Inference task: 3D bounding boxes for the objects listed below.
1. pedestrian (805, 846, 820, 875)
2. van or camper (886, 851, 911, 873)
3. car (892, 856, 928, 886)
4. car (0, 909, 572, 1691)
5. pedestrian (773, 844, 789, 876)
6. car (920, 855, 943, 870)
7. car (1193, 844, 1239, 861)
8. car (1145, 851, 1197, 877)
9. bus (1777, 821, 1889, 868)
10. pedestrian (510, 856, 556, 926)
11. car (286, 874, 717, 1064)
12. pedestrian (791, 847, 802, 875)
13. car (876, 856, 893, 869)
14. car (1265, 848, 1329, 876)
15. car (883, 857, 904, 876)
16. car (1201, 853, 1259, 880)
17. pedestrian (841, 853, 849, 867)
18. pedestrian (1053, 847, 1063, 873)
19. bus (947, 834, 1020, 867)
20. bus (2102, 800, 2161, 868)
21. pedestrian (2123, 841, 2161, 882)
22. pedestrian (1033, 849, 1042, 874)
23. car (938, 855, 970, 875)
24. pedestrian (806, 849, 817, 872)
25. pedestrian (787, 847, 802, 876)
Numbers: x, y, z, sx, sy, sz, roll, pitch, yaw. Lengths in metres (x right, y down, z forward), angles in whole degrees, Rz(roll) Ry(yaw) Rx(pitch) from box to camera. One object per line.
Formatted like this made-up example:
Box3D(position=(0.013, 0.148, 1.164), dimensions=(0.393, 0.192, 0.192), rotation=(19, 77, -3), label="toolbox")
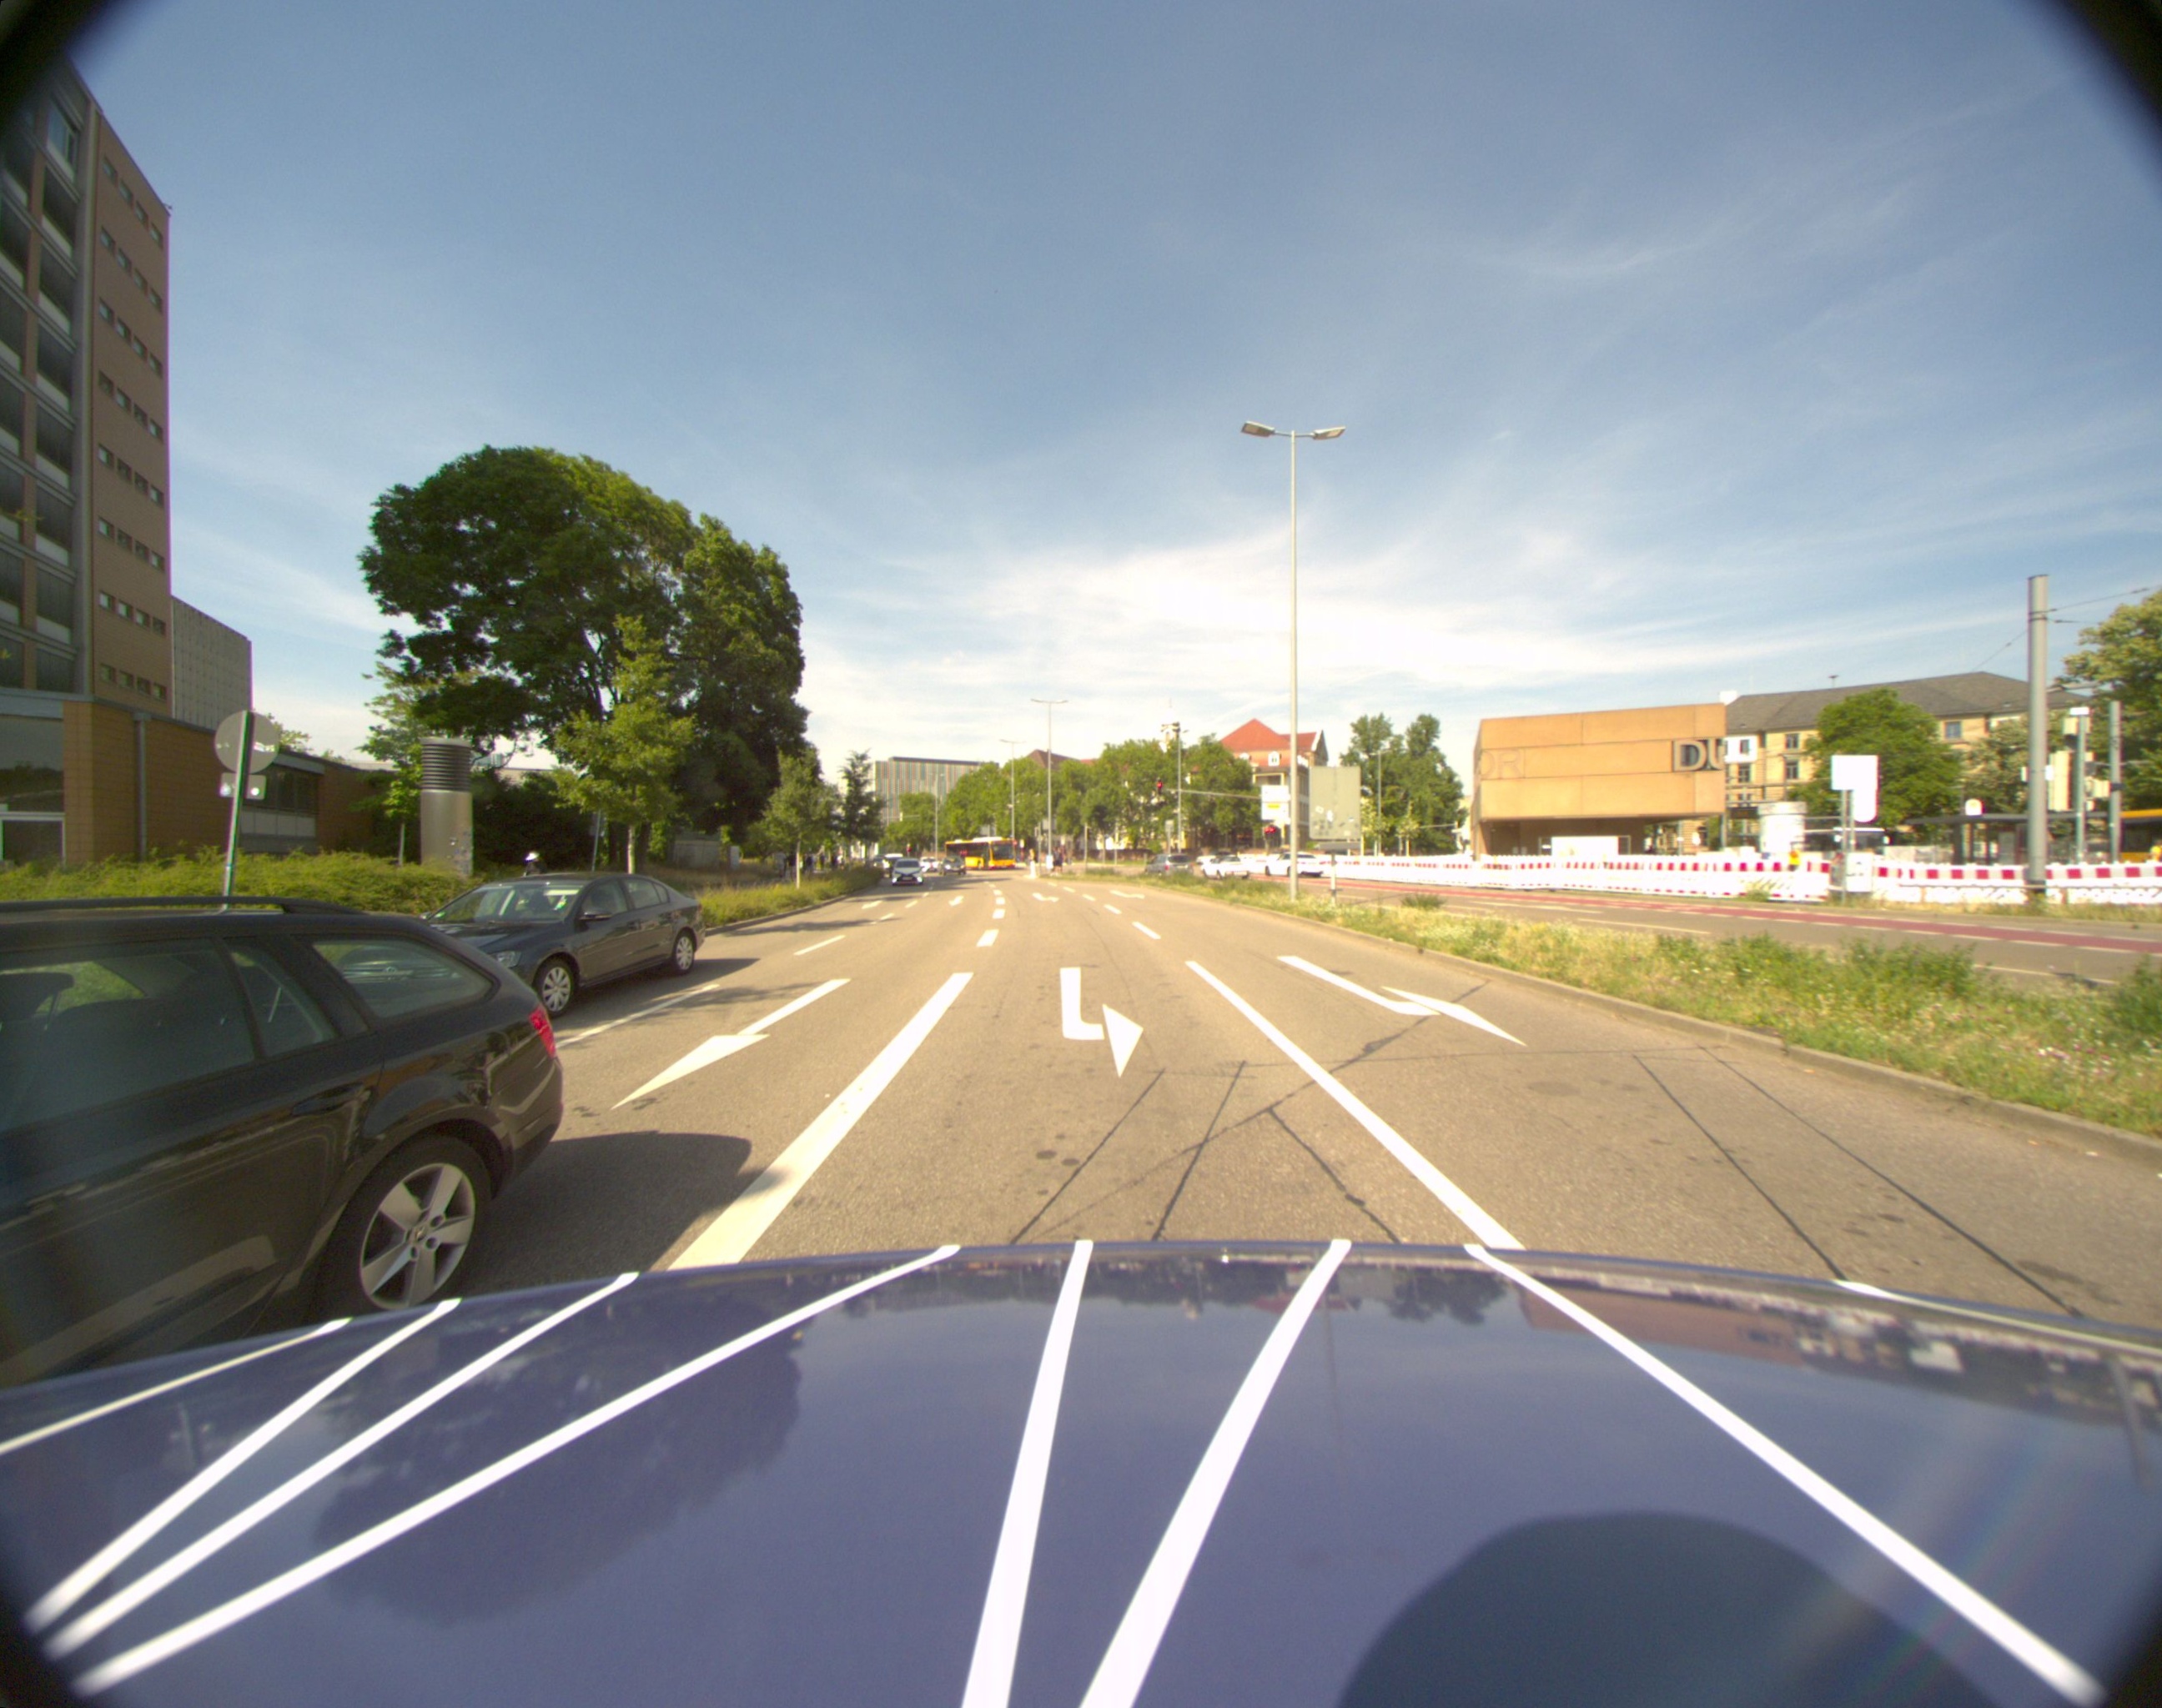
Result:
Box3D(position=(-15.805, 0.382, 44.761), dimensions=(0.643, 1.664, 0.752), rotation=(1, 1, -1), label="pedestrian")
Box3D(position=(-16.618, 0.699, 69.021), dimensions=(1.732, 1.877, 4.914), rotation=(-3, 1, -19), label="van or camper")
Box3D(position=(-9.507, 0.885, 42.052), dimensions=(1.683, 1.466, 3.754), rotation=(-3, 1, -15), label="car")
Box3D(position=(-3.010, 1.015, 0.932), dimensions=(1.635, 1.427, 4.778), rotation=(-2, 1, -2), label="car")
Box3D(position=(-17.446, 0.360, 44.170), dimensions=(0.643, 1.827, 0.731), rotation=(1, 1, -1), label="pedestrian")
Box3D(position=(-13.673, 0.754, 69.379), dimensions=(1.492, 1.286, 3.480), rotation=(0, 0, -20), label="car")
Box3D(position=(13.321, -0.145, 74.993), dimensions=(4.118, 1.435, 1.756), rotation=(-3, 1, -26), label="car")
Box3D(position=(4.797, 0.496, 41.090), dimensions=(1.600, 1.279, 3.995), rotation=(-3, 1, -12), label="car")
Box3D(position=(58.256, -0.683, 59.308), dimensions=(2.751, 3.303, 11.810), rotation=(0, 0, 27), label="bus")
Box3D(position=(-13.289, 0.885, 18.440), dimensions=(0.593, 1.654, 0.731), rotation=(1, 1, -1), label="pedestrian")
Box3D(position=(-6.130, 1.060, 8.893), dimensions=(1.635, 1.427, 4.527), rotation=(-2, 1, -2), label="car")
Box3D(position=(-18.244, 0.456, 48.754), dimensions=(0.644, 1.754, 0.474), rotation=(0, 2, -22), label="pedestrian")
Box3D(position=(-21.328, 0.918, 82.378), dimensions=(1.492, 1.286, 3.480), rotation=(0, 0, -20), label="car")
Box3D(position=(12.206, 0.419, 43.157), dimensions=(1.804, 1.412, 3.995), rotation=(-3, 1, -12), label="car")
Box3D(position=(-13.469, 0.900, 54.606), dimensions=(1.410, 1.287, 3.576), rotation=(-1, 0, -14), label="car")
Box3D(position=(7.942, 0.639, 40.800), dimensions=(1.600, 1.279, 3.995), rotation=(-3, 1, -12), label="car")
Box3D(position=(-19.317, 0.511, 62.173), dimensions=(0.644, 1.125, 0.751), rotation=(1, 1, -17), label="pedestrian")
Box3D(position=(-1.497, 0.396, 50.056), dimensions=(0.643, 1.664, 0.752), rotation=(0, 1, -1), label="pedestrian")
Box3D(position=(-9.739, -0.303, 74.272), dimensions=(2.801, 3.021, 12.120), rotation=(-1, 0, -29), label="bus")
Box3D(position=(42.330, -0.721, 26.687), dimensions=(2.751, 2.667, 11.807), rotation=(-2, 1, 27), label="bus")
Box3D(position=(36.426, 0.248, 25.920), dimensions=(0.539, 1.359, 0.912), rotation=(-2, 1, -1), label="pedestrian")
Box3D(position=(-2.831, 0.491, 49.561), dimensions=(0.541, 1.664, 0.752), rotation=(0, 1, -1), label="pedestrian")
Box3D(position=(-9.978, 0.839, 59.679), dimensions=(1.653, 1.416, 4.113), rotation=(-3, 1, -20), label="car")
Box3D(position=(-17.444, 0.429, 49.099), dimensions=(0.644, 1.438, 0.568), rotation=(0, 2, -22), label="pedestrian")
Box3D(position=(-16.661, 0.438, 44.191), dimensions=(0.643, 1.617, 0.731), rotation=(1, 1, -1), label="pedestrian")
